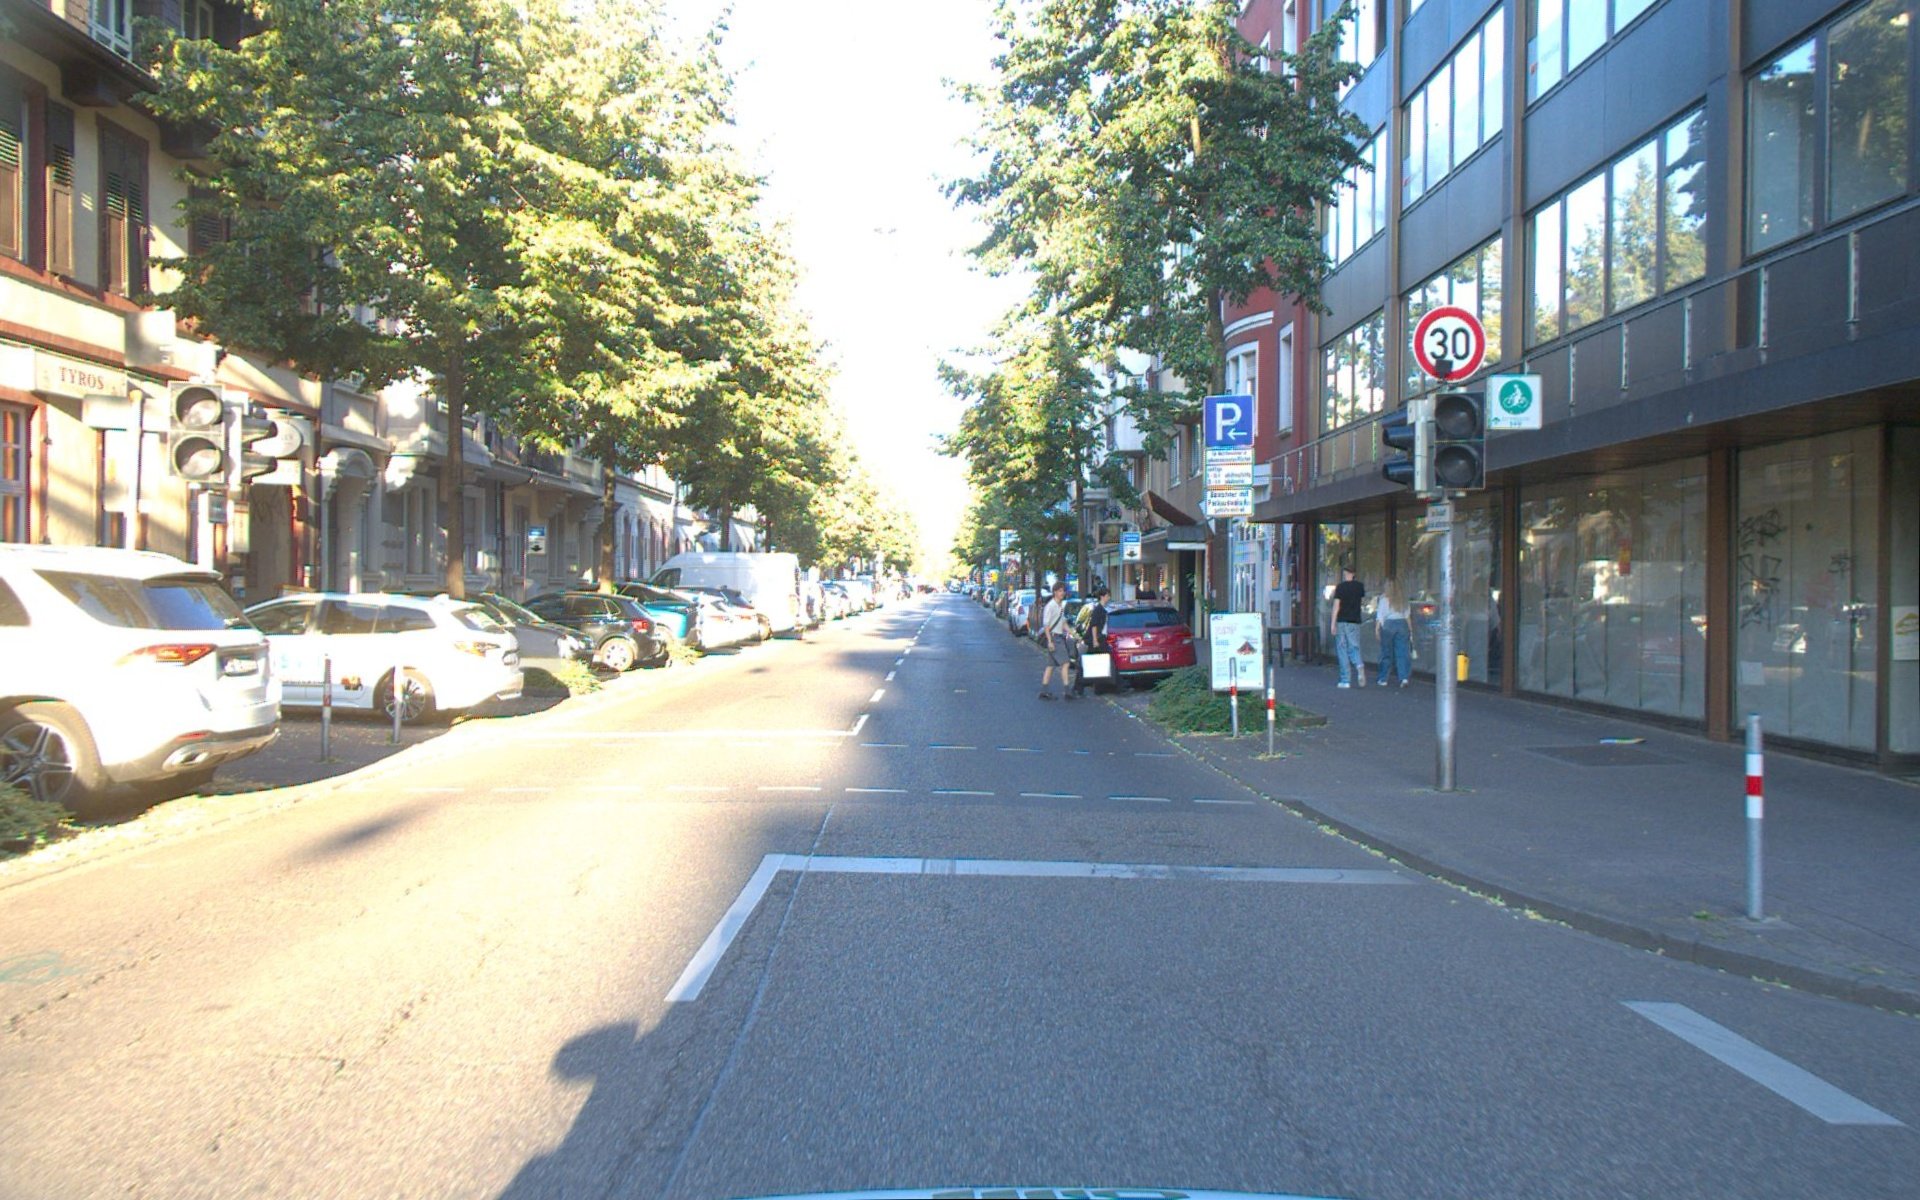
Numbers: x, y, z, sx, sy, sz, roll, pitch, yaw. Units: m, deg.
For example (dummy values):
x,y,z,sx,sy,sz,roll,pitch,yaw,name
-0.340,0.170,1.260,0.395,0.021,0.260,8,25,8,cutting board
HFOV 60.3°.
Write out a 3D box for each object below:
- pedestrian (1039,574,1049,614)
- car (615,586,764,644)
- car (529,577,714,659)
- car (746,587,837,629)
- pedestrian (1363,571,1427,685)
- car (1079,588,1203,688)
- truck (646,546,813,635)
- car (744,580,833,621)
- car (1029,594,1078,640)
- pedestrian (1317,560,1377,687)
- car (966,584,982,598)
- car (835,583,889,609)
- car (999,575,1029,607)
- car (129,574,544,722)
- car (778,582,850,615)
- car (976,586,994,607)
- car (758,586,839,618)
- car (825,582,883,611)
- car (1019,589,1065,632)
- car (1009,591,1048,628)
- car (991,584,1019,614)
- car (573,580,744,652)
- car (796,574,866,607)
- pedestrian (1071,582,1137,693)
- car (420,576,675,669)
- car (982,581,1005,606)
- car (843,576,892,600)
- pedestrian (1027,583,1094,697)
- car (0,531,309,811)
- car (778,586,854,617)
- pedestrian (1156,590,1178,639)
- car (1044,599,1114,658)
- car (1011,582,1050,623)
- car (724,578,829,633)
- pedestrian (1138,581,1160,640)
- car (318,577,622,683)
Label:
x,y,z,sx,sy,sz,roll,pitch,yaw,name
4.320,-0.324,85.515,0.440,2.049,0.424,1,1,-1,pedestrian
-7.224,0.396,44.443,3.663,1.475,2.000,1,0,-1,car
-7.447,0.368,36.644,3.663,1.671,2.000,1,1,-1,car
-6.800,0.308,66.886,3.513,1.623,1.700,1,0,-1,car
6.681,0.423,25.434,0.750,1.718,0.786,0,1,-3,pedestrian
3.046,0.621,28.391,1.545,1.569,3.395,-1,0,-3,car
-7.036,-0.290,50.883,4.840,2.660,2.000,1,0,-1,truck
-7.404,0.009,71.856,3.663,1.738,2.000,1,0,-1,car
2.811,0.513,49.984,1.182,1.323,2.659,1,0,-3,car
5.932,0.351,25.393,0.700,1.898,0.679,-1,1,-3,pedestrian
1.601,-1.027,189.909,1.544,1.606,3.113,1,1,-2,car
-6.927,-0.287,117.428,3.663,1.738,2.000,1,1,-1,car
2.818,-0.454,86.464,1.283,1.628,2.659,1,0,-3,car
-7.209,0.530,19.477,4.090,1.533,2.000,2,0,-1,car
-7.732,-0.093,87.947,3.663,1.738,2.000,1,0,-1,car
2.006,-0.277,132.895,1.283,1.628,2.659,1,0,-3,car
-7.668,0.095,78.921,3.663,1.475,2.000,1,0,-1,car
-6.856,-0.213,107.178,3.663,1.738,2.000,1,1,-1,car
2.638,0.333,53.438,1.182,1.323,2.659,1,0,-3,car
2.479,0.341,60.229,1.182,1.323,2.659,1,0,-3,car
2.481,-0.051,91.569,1.283,1.628,2.659,1,0,-3,car
-7.068,0.404,39.045,3.663,1.624,1.999,1,-2,-1,car
-7.105,-0.541,91.499,3.663,1.738,2.000,1,1,-1,car
2.276,0.578,26.156,0.717,1.712,0.746,0,2,-40,pedestrian
-7.855,0.413,31.798,4.337,1.529,2.000,3,0,-1,car
2.228,-0.407,109.945,1.283,1.628,2.659,1,0,-3,car
-7.036,-0.935,126.093,3.663,1.738,2.000,1,1,-1,car
1.544,0.597,25.344,0.710,1.702,0.700,1,1,-40,pedestrian
-6.804,0.402,11.338,3.909,1.738,1.833,1,1,-1,car
-7.251,0.048,83.638,3.663,1.519,2.000,1,0,-1,car
5.954,0.410,47.602,0.523,1.384,0.534,1,1,0,pedestrian
2.842,0.657,39.979,1.279,1.315,3.012,3,0,-3,car
2.859,0.098,67.440,1.283,1.628,2.659,1,0,-3,car
-6.796,0.196,61.488,3.663,1.891,2.000,1,1,-1,car
5.372,0.283,47.077,0.523,1.650,0.534,1,1,0,pedestrian
-7.866,0.466,26.870,4.336,1.627,2.000,1,0,-1,car
